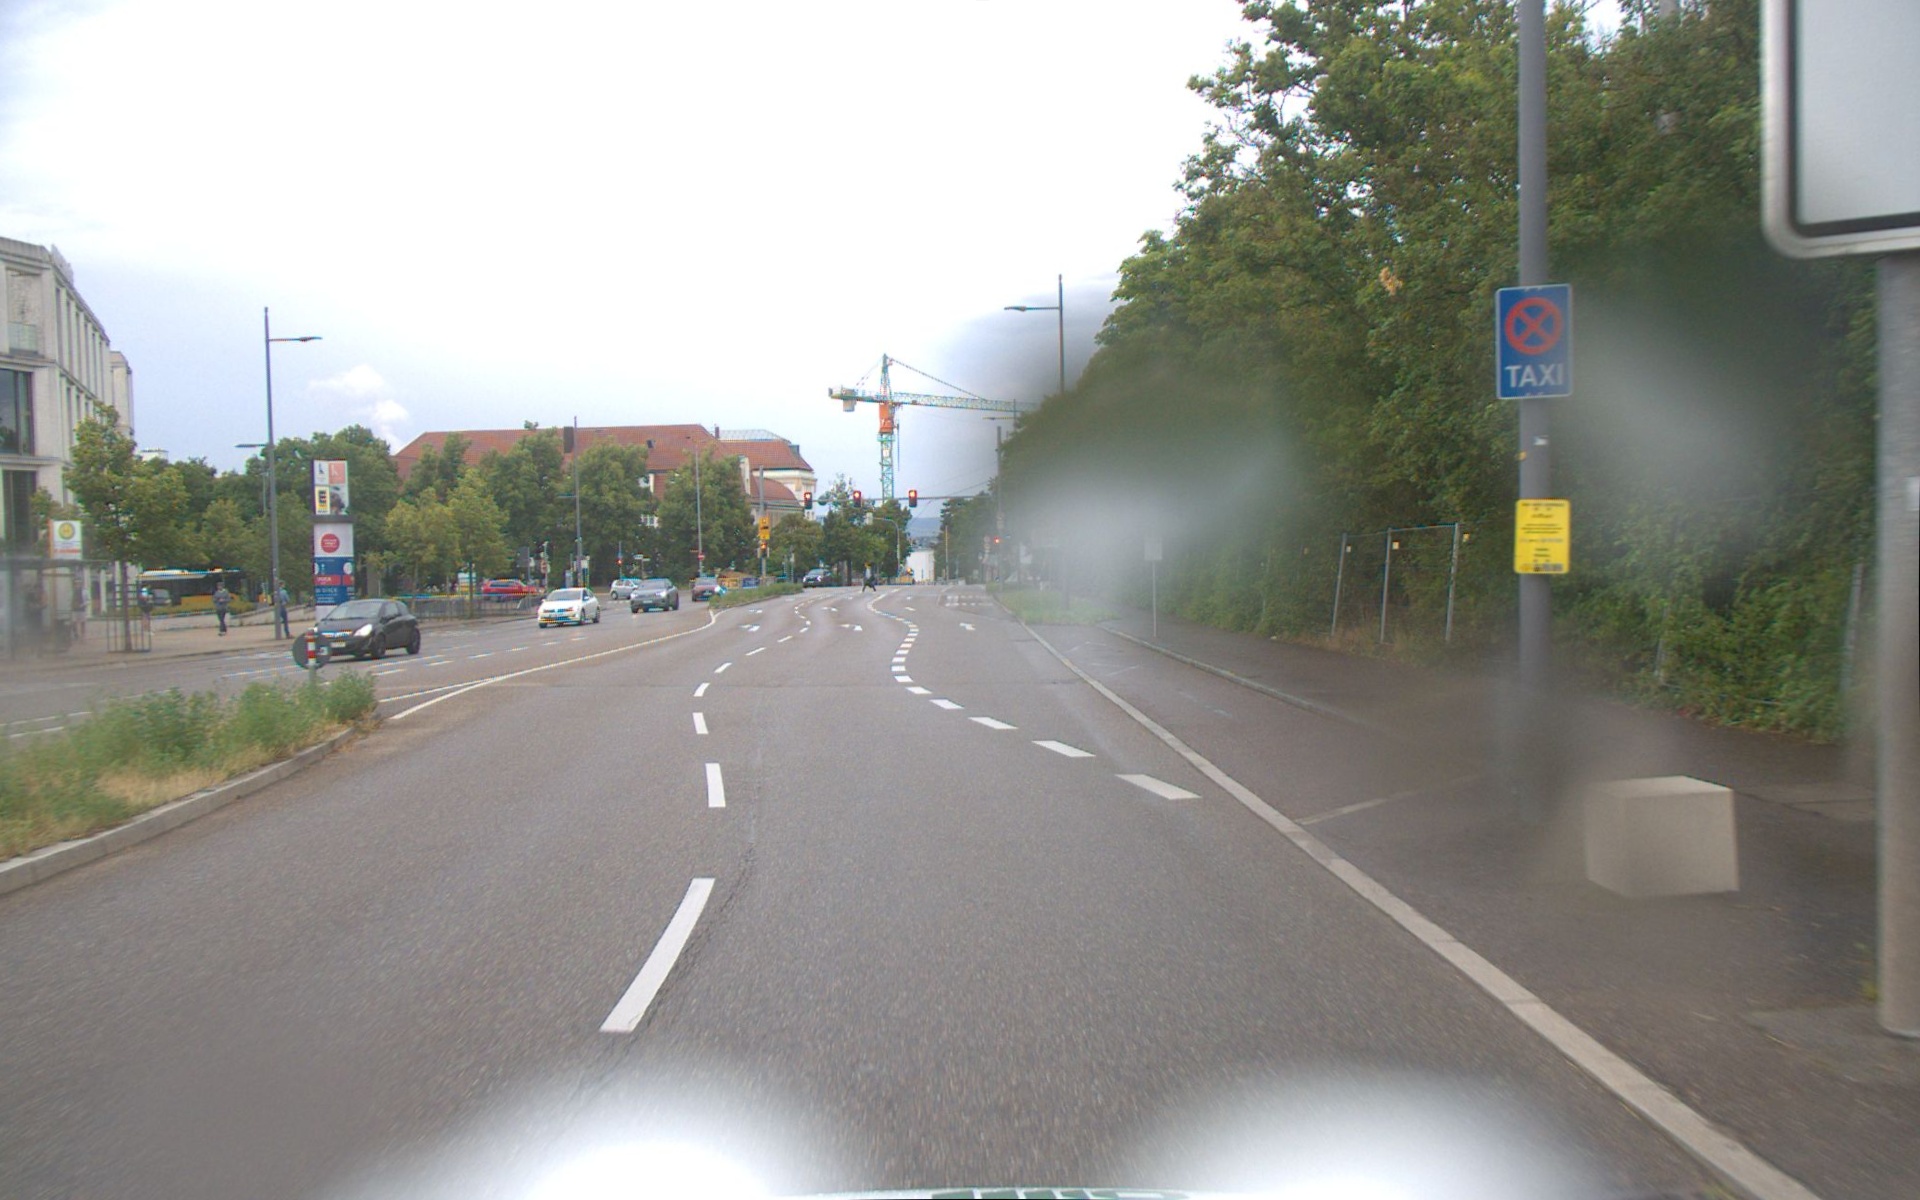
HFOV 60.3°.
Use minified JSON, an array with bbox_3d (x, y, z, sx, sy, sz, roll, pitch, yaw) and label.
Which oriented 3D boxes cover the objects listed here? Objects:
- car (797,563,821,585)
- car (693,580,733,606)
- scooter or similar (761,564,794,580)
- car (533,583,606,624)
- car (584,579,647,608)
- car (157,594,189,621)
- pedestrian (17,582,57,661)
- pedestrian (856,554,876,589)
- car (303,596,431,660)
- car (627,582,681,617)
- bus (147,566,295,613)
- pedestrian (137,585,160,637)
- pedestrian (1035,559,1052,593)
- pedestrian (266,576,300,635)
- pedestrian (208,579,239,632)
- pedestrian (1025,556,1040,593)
[{"bbox_3d":[-13.421,-2.288,147.332,1.953,1.870,3.998,0,-1,-2],"label":"car"},{"bbox_3d":[-15.554,-0.455,104.424,1.794,1.441,4.465,-4,1,0],"label":"car"},{"bbox_3d":[-17.708,-2.754,160.612,3.025,1.465,0.948,-2,1,-2],"label":"scooter or similar"},{"bbox_3d":[-15.395,0.134,65.349,1.835,1.454,4.175,-4,0,0],"label":"car"},{"bbox_3d":[-24.498,-0.451,117.491,3.905,1.950,2.000,-1,0,22],"label":"car"},{"bbox_3d":[-52.379,0.486,110.068,1.753,1.761,3.963,-2,1,-28],"label":"car"},{"bbox_3d":[-22.345,0.514,40.040,0.497,1.874,0.755,-1,0,-1],"label":"pedestrian"},{"bbox_3d":[-5.707,-1.754,100.578,0.920,2.048,0.848,-4,1,5],"label":"pedestrian"},{"bbox_3d":[-14.955,0.670,41.951,1.809,1.487,3.867,-2,0,0],"label":"car"},{"bbox_3d":[-15.400,-0.043,83.401,1.794,1.599,4.593,-4,0,0],"label":"car"},{"bbox_3d":[-54.307,-0.778,121.626,9.521,3.157,2.899,-2,1,3],"label":"bus"},{"bbox_3d":[-27.001,0.364,55.019,0.489,1.719,0.911,-1,0,-17],"label":"pedestrian"},{"bbox_3d":[4.225,-1.193,83.640,0.662,1.686,0.792,-2,1,-6],"label":"pedestrian"},{"bbox_3d":[-21.826,0.177,53.353,0.737,1.874,0.747,-1,0,2],"label":"pedestrian"},{"bbox_3d":[-24.932,0.177,56.009,0.586,1.793,0.857,-1,0,2],"label":"pedestrian"},{"bbox_3d":[3.861,-1.354,88.112,0.628,1.934,0.717,-2,1,-6],"label":"pedestrian"}]
